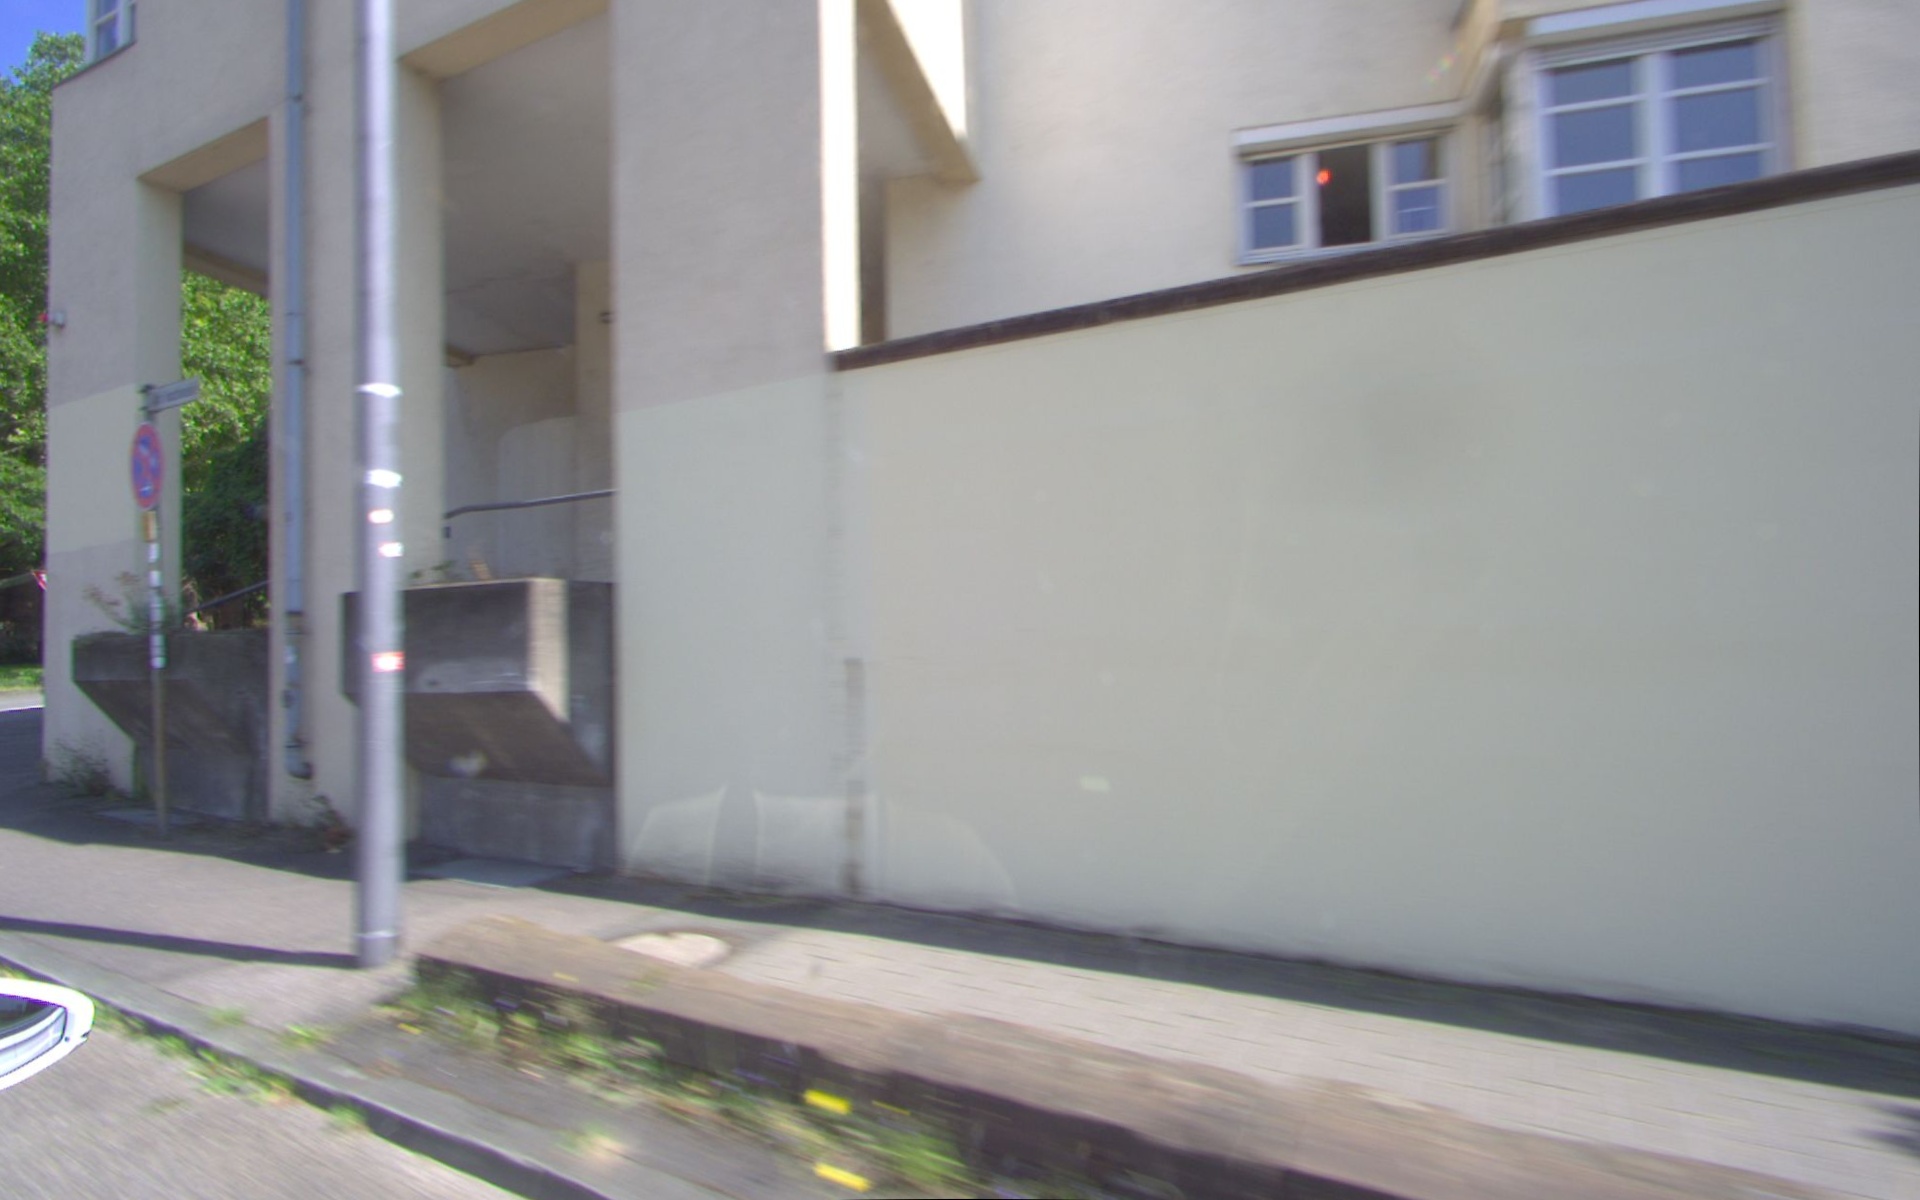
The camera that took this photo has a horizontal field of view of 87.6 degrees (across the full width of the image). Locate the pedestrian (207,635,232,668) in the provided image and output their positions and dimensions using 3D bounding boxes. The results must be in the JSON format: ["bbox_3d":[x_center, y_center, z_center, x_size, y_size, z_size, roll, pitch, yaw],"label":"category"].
[{"bbox_3d":[-39.957,2.791,54.055,0.654,1.777,0.794,-1,-3,22],"label":"pedestrian"}]

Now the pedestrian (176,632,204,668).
[{"bbox_3d":[-38.801,2.508,50.450,0.710,1.777,0.794,-1,-3,22],"label":"pedestrian"}]

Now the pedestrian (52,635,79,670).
[{"bbox_3d":[-47.374,2.763,53.042,0.861,1.805,0.793,-1,0,22],"label":"pedestrian"}]

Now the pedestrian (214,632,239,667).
[{"bbox_3d":[-37.755,2.548,51.544,0.654,1.777,0.794,-1,-3,22],"label":"pedestrian"}]
